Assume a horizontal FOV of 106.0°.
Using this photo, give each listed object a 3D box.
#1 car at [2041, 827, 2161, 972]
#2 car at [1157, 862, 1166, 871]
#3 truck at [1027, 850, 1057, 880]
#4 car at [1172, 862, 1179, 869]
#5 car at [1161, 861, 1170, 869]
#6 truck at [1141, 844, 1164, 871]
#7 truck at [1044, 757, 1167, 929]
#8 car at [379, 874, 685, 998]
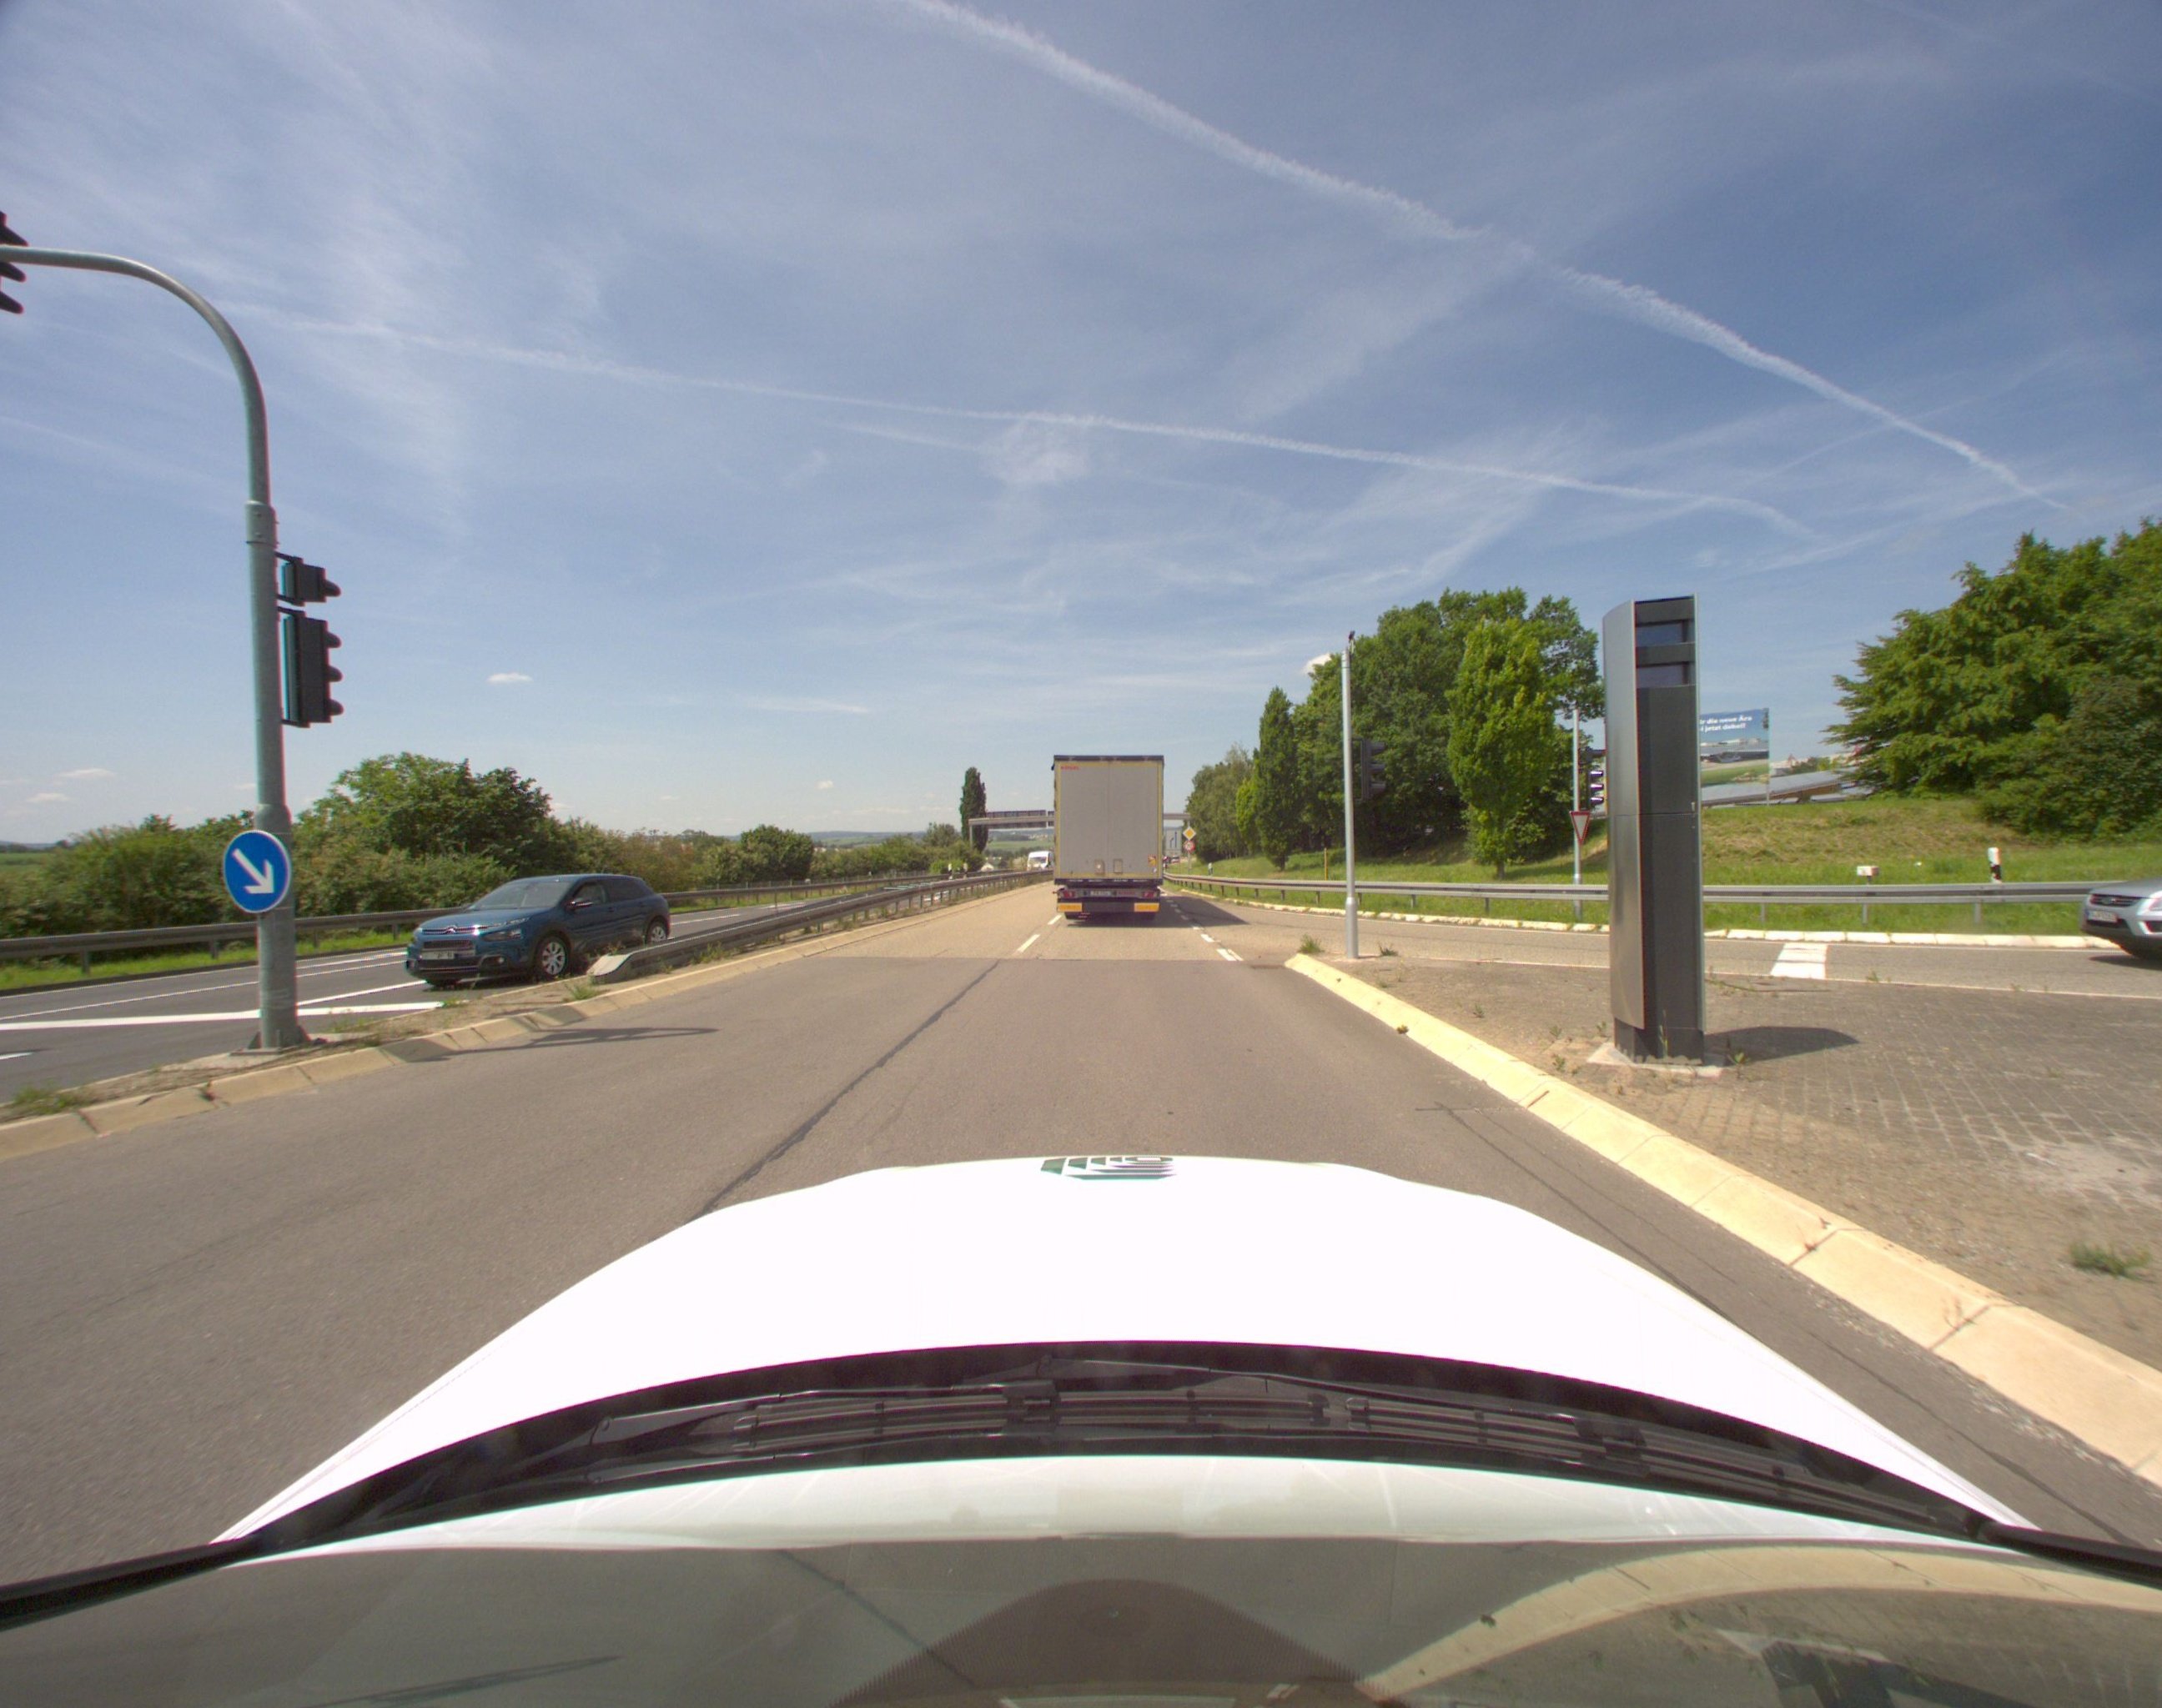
[{"bbox_3d":[14.698,0.435,9.356,4.319,1.655,1.847,-3,-1,23],"label":"car"},{"bbox_3d":[16.100,2.487,163.046,1.778,1.688,4.005,0,-1,5],"label":"car"},{"bbox_3d":[-3.627,1.016,77.416,2.032,2.621,6.025,-3,-1,3],"label":"truck"},{"bbox_3d":[23.094,2.795,198.986,1.778,1.688,4.005,0,-1,5],"label":"car"},{"bbox_3d":[18.680,2.531,180.288,1.778,1.688,4.005,0,-1,5],"label":"car"},{"bbox_3d":[10.331,0.563,117.382,2.640,3.765,10.185,0,-1,9],"label":"truck"},{"bbox_3d":[0.678,-0.211,24.335,2.789,3.930,11.343,0,0,1],"label":"truck"},{"bbox_3d":[-8.119,1.105,12.620,1.748,1.469,4.197,-2,-1,2],"label":"car"}]
